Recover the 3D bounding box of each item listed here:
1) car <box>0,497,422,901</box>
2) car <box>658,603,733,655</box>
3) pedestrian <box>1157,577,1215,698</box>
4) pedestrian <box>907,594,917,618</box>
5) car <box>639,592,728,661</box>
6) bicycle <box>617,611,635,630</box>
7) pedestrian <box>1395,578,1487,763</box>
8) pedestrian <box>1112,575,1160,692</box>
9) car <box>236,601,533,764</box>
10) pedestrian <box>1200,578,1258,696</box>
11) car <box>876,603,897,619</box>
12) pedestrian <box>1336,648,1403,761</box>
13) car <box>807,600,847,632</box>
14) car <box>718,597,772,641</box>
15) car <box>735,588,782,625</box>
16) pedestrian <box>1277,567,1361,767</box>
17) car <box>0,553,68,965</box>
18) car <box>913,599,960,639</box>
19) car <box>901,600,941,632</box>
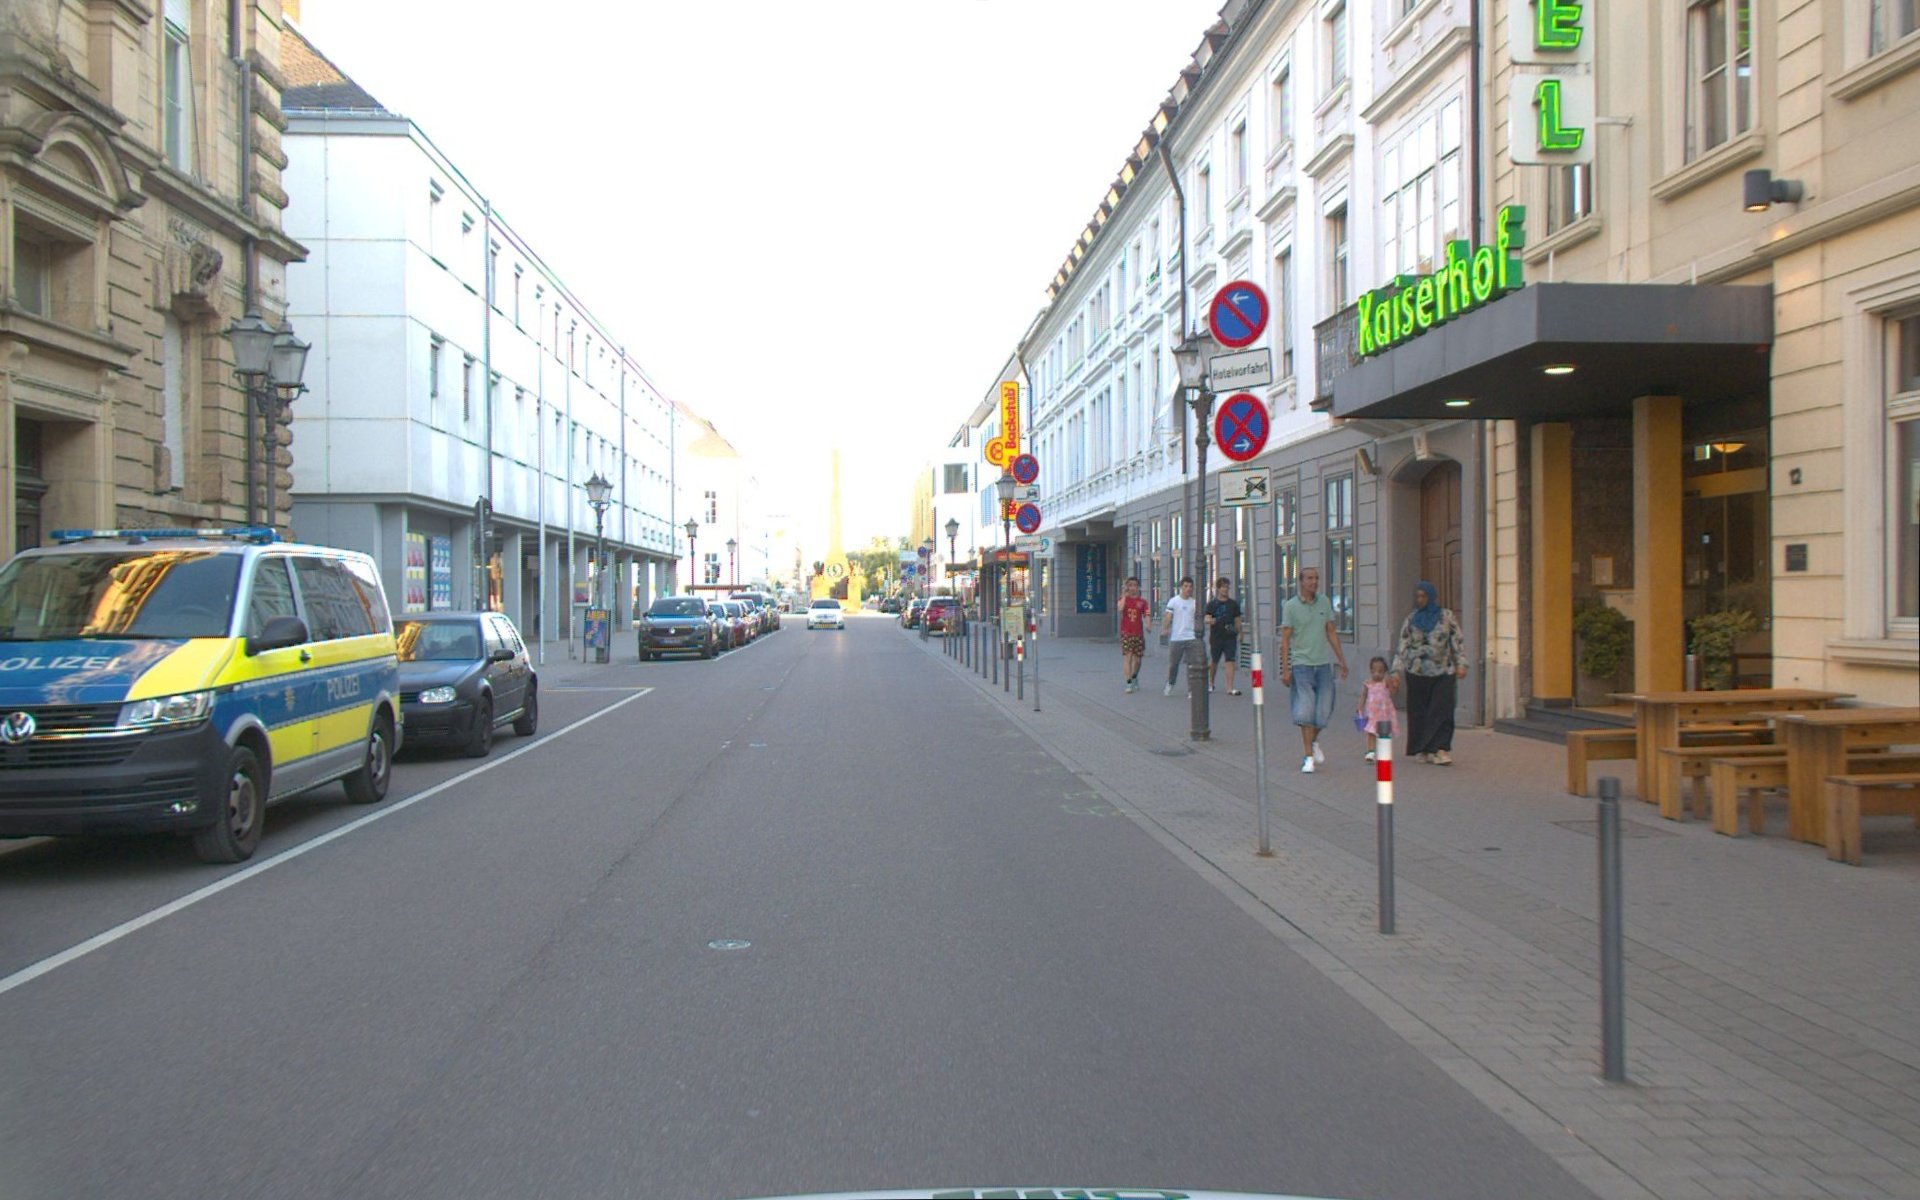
[{"bbox_3d":[-5.262,0.551,11.186,1.955,2.114,4.985,-1,-1,-5],"label":"car"},{"bbox_3d":[-7.848,0.829,49.303,1.749,1.433,4.086,-1,0,-3],"label":"car"},{"bbox_3d":[3.370,0.553,24.727,0.732,1.760,0.881,-1,0,-1],"label":"pedestrian"},{"bbox_3d":[-3.284,0.415,113.052,0.676,1.676,0.695,-1,0,-5],"label":"pedestrian"},{"bbox_3d":[-7.003,0.641,42.267,1.749,1.643,4.163,-1,0,-3],"label":"car"},{"bbox_3d":[-18.107,1.101,89.788,0.718,1.001,2.333,0,0,-5],"label":"bicycle"},{"bbox_3d":[4.347,0.625,14.968,0.617,1.629,0.614,-1,0,-3],"label":"pedestrian"},{"bbox_3d":[2.808,0.521,26.401,0.608,1.821,0.913,-1,0,-3],"label":"pedestrian"},{"bbox_3d":[-6.068,0.802,17.985,1.954,1.520,4.161,-1,0,-3],"label":"car"},{"bbox_3d":[4.088,0.553,25.186,0.699,1.760,0.873,-1,0,-2],"label":"pedestrian"},{"bbox_3d":[-7.186,1.086,161.903,1.953,1.489,3.998,-1,0,-2],"label":"car"},{"bbox_3d":[3.772,0.955,15.250,0.450,0.997,0.558,-1,0,-3],"label":"pedestrian"},{"bbox_3d":[-6.276,0.730,78.235,1.749,1.433,4.086,-1,0,-3],"label":"car"},{"bbox_3d":[-9.273,0.790,71.725,1.954,1.758,4.512,-2,0,-3],"label":"car"},{"bbox_3d":[-9.547,0.321,78.519,1.954,1.691,3.997,0,0,-3],"label":"car"},{"bbox_3d":[3.216,0.590,14.857,0.595,1.760,0.558,-1,0,-3],"label":"pedestrian"},{"bbox_3d":[-4.932,0.694,5.257,1.955,1.783,4.982,-1,0,-7],"label":"car"},{"bbox_3d":[-0.983,0.730,66.663,1.724,1.550,3.674,0,0,-3],"label":"car"},{"bbox_3d":[-1.925,0.752,80.470,1.766,1.489,4.114,0,0,-3],"label":"car"}]
